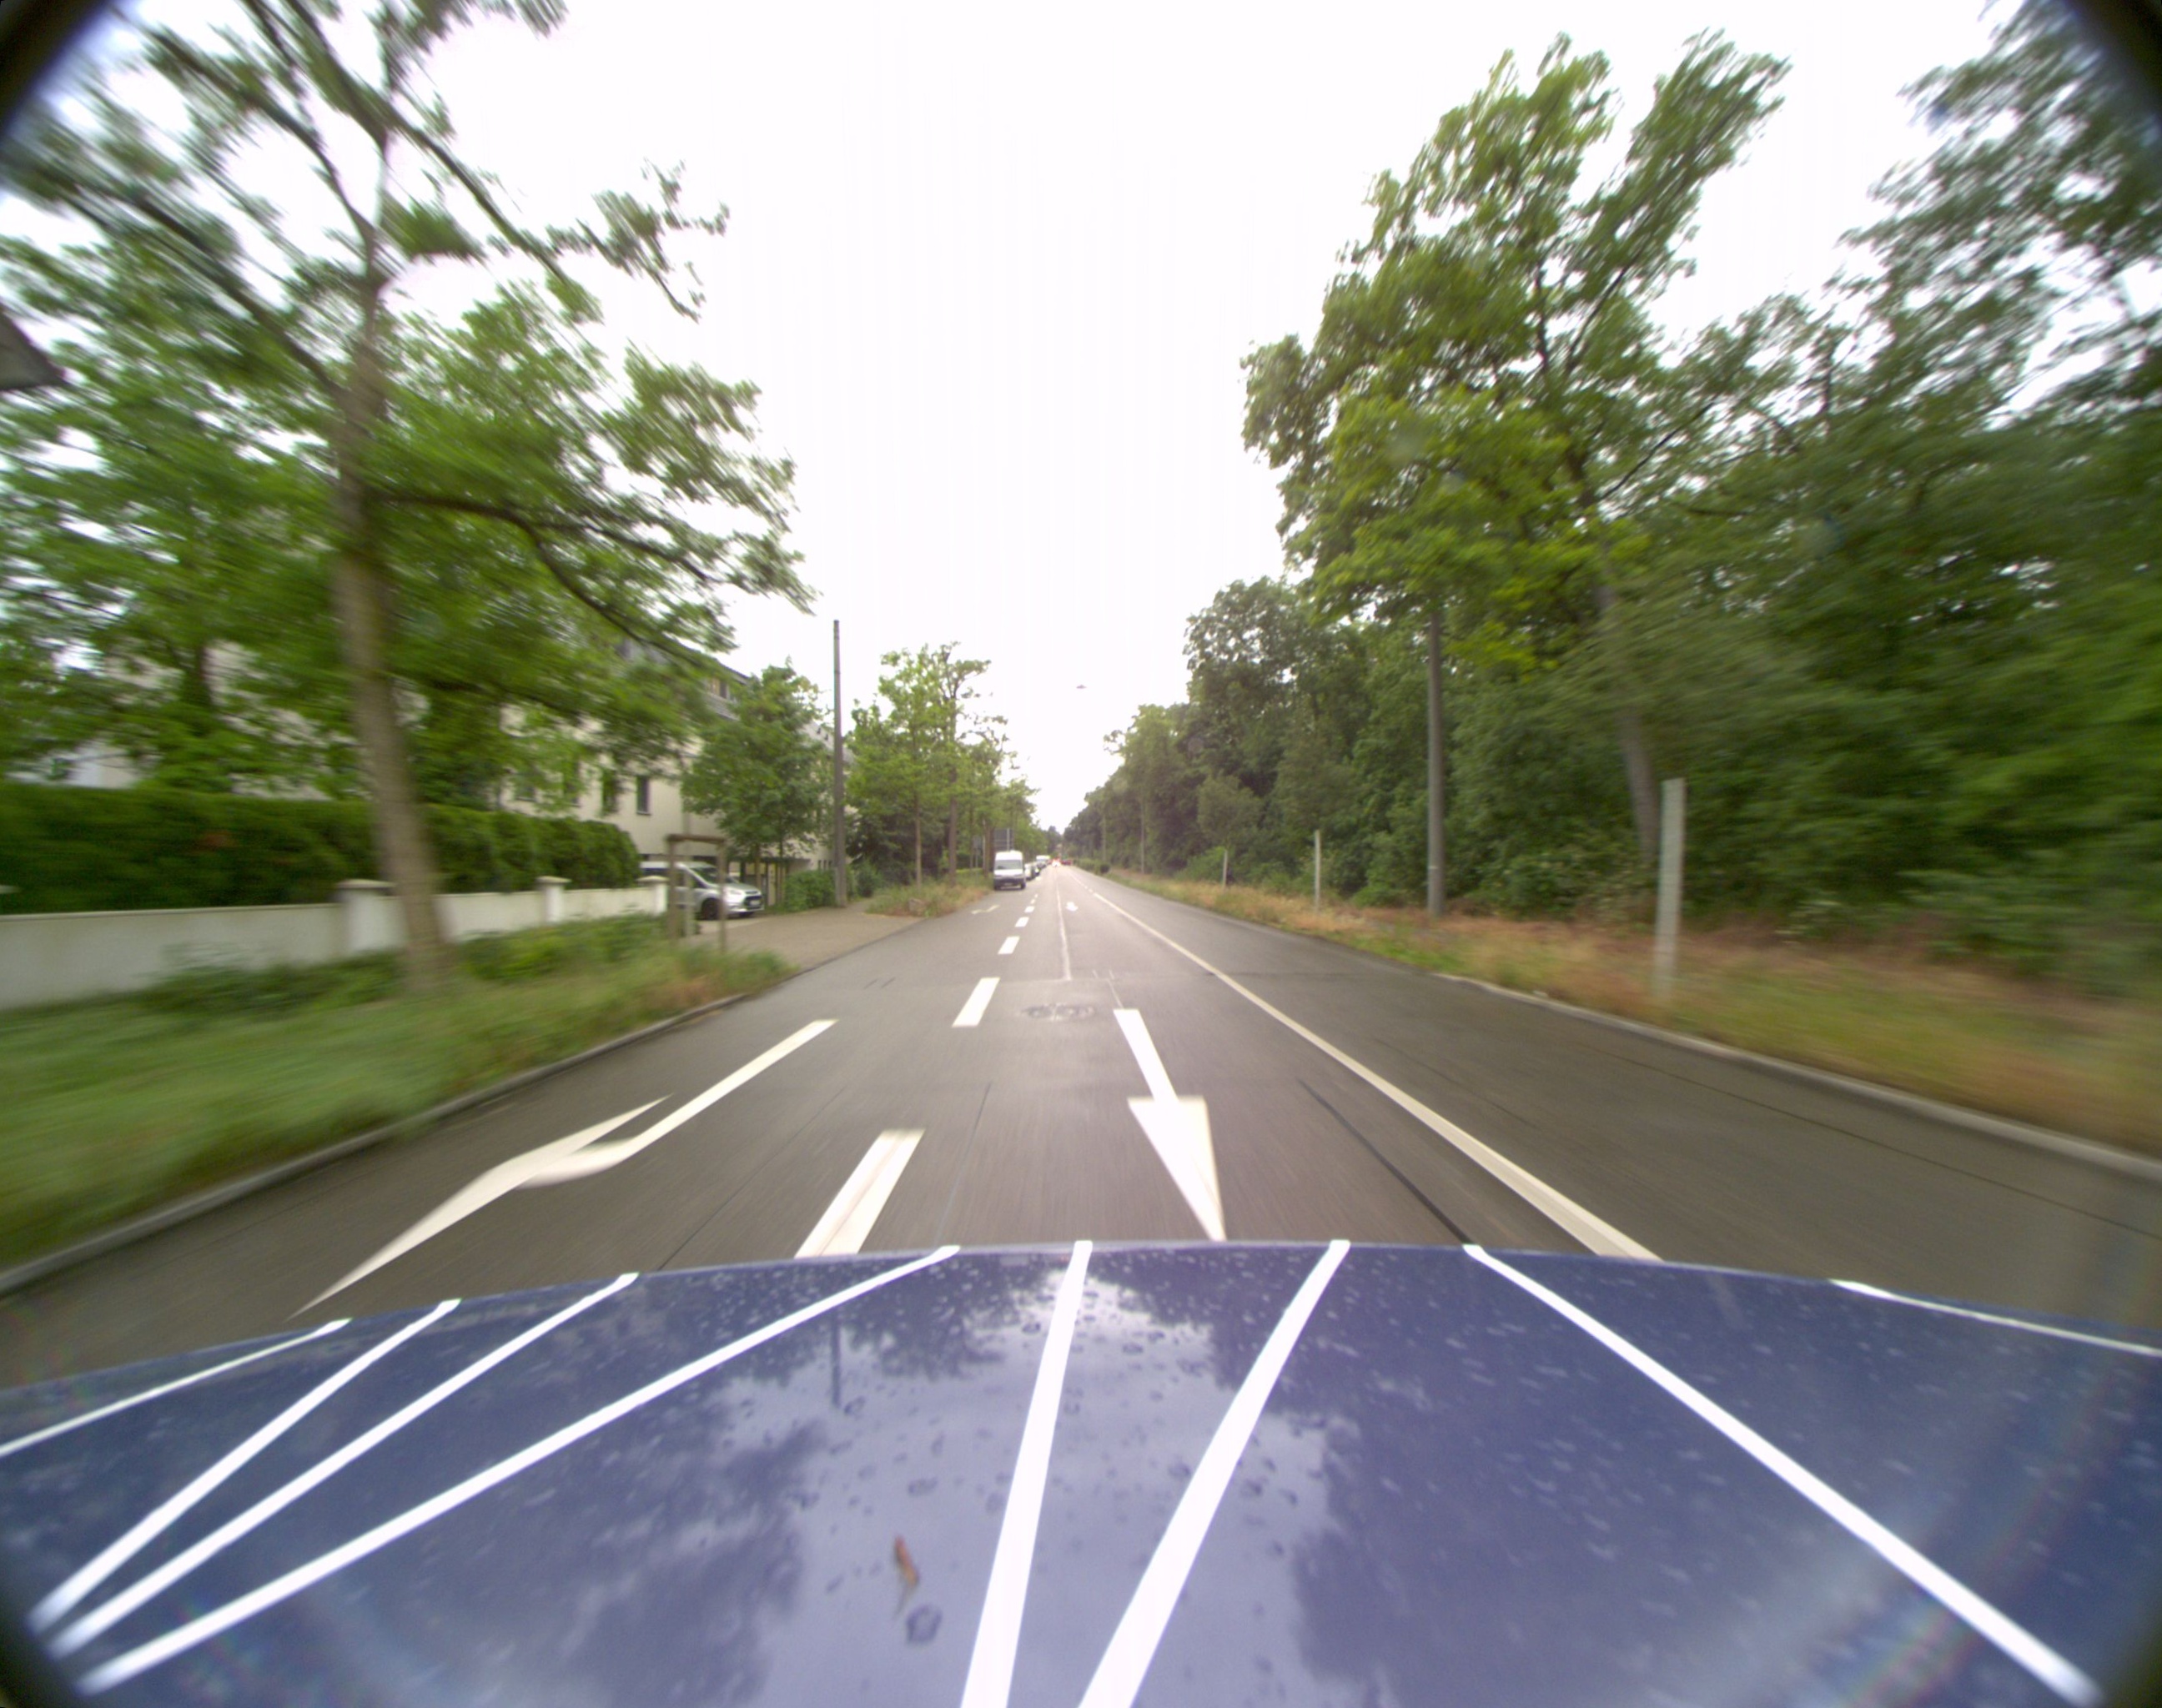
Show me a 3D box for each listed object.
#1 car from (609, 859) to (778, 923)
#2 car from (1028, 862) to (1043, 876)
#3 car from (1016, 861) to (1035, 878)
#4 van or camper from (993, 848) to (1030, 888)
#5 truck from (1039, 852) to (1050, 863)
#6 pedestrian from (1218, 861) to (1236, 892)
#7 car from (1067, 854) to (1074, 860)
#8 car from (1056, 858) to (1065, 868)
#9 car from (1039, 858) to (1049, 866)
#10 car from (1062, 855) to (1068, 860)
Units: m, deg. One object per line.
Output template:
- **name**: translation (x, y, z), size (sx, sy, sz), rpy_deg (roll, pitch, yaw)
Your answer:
- **car**: translation (-11.920, 1.116, 23.506), size (4.312, 1.807, 1.875), rpy_deg (-2, 0, 9)
- **car**: translation (-5.261, 1.733, 87.689), size (1.622, 1.459, 4.409), rpy_deg (-2, 0, -3)
- **car**: translation (-5.161, 1.439, 70.710), size (1.576, 1.463, 3.764), rpy_deg (-2, 0, -1)
- **van or camper**: translation (-4.626, 0.892, 51.216), size (2.042, 2.465, 5.637), rpy_deg (-3, 0, -2)
- **truck**: translation (-7.838, 0.764, 161.820), size (2.230, 2.321, 5.112), rpy_deg (1, 0, -3)
- **pedestrian**: translation (7.707, 1.194, 40.160), size (0.783, 1.598, 0.732), rpy_deg (0, 0, -3)
- **car**: translation (-2.884, 0.892, 202.516), size (1.681, 1.608, 4.061), rpy_deg (1, 0, -3)
- **car**: translation (-4.693, 2.078, 173.503), size (1.999, 2.002, 3.999), rpy_deg (-1, 1, 0)
- **car**: translation (-7.293, 1.505, 148.998), size (1.789, 1.452, 3.998), rpy_deg (1, 0, -3)
- **car**: translation (-5.042, 1.056, 239.129), size (1.852, 1.490, 3.998), rpy_deg (1, 0, -3)
